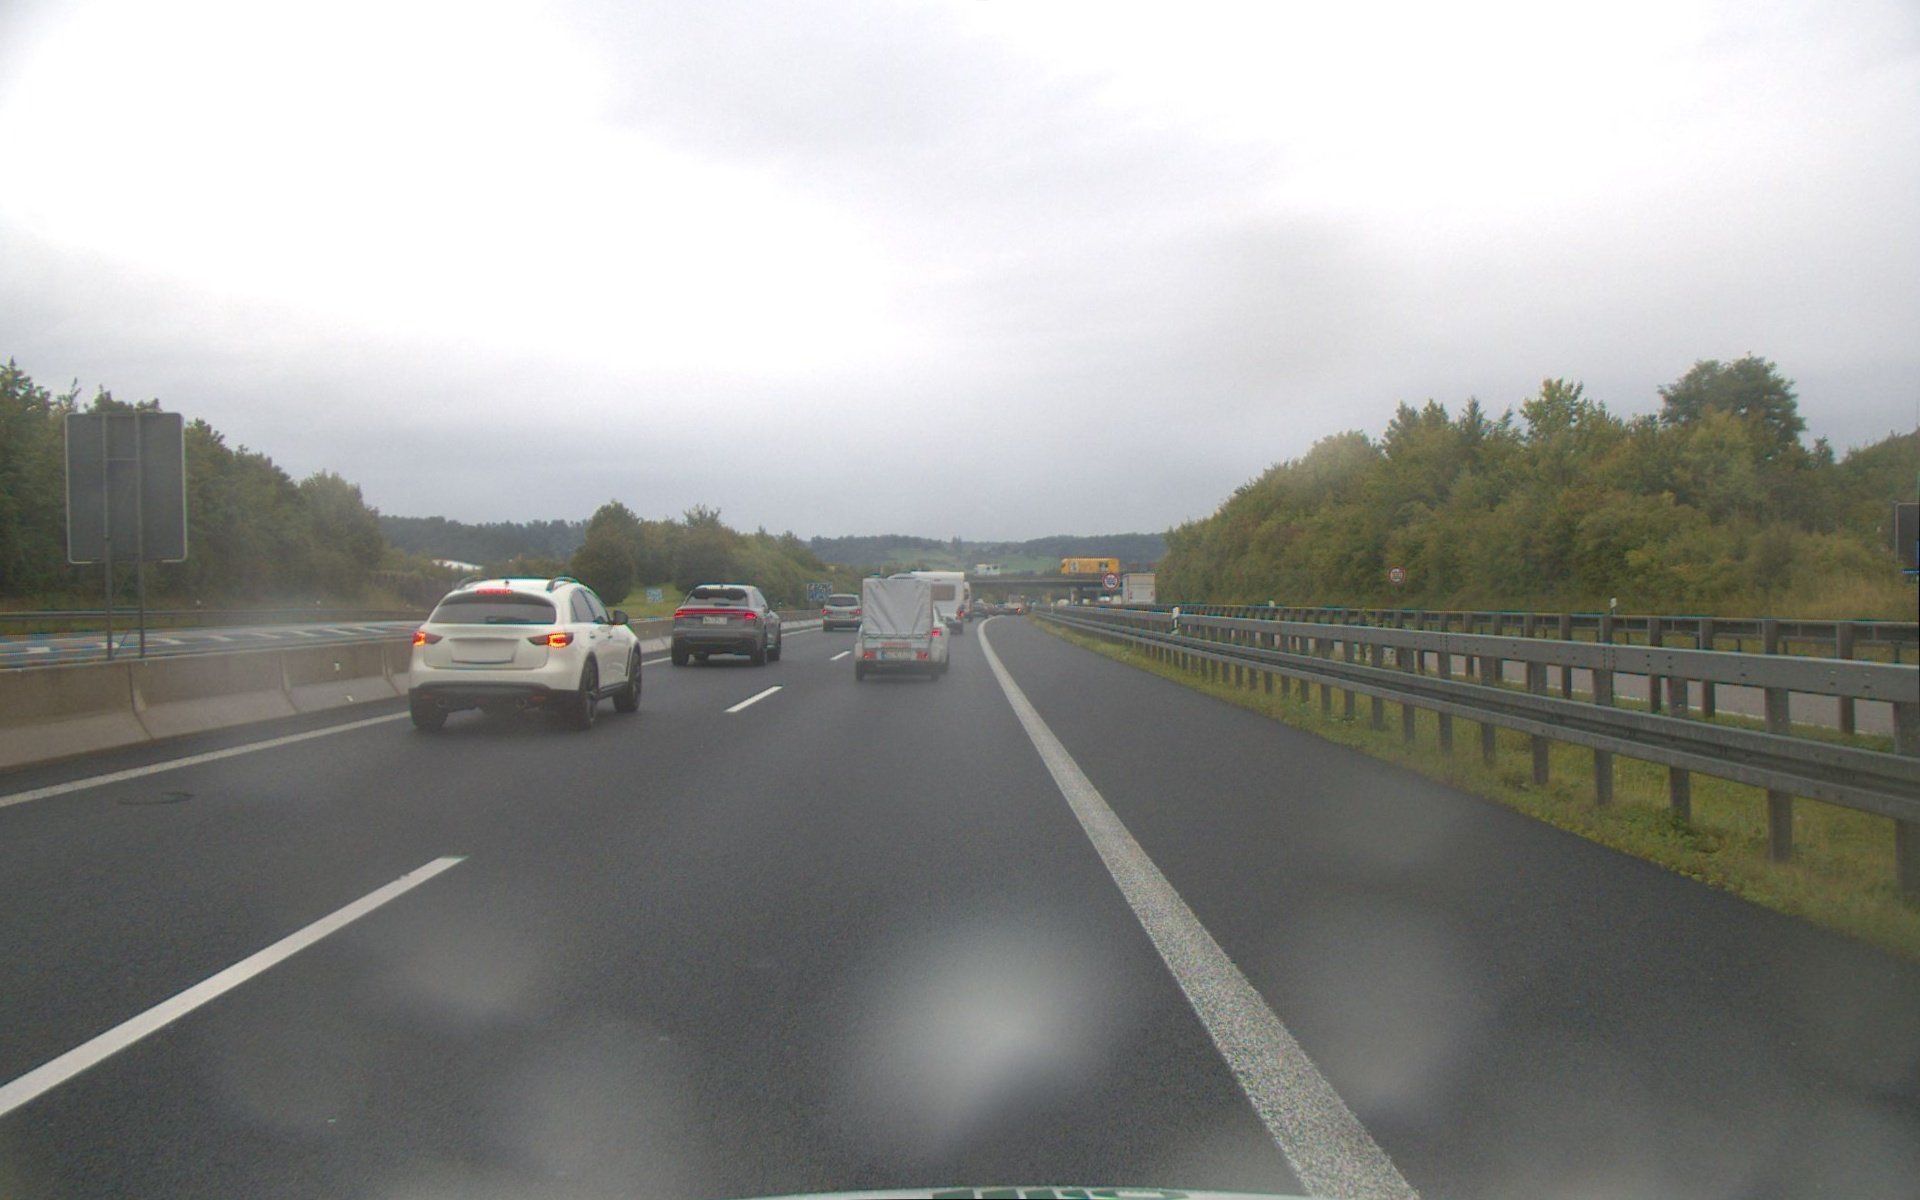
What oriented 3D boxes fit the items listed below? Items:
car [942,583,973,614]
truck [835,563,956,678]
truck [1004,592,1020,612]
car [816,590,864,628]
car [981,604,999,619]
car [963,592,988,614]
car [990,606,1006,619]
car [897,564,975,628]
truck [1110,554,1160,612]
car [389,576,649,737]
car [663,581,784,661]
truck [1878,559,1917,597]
[{"bbox_3d":[-0.192,-0.107,113.965,1.953,2.071,4.150,1,0,-2],"label":"car"},{"bbox_3d":[-1.140,0.345,32.477,1.977,2.020,7.213,0,0,1],"label":"truck"},{"bbox_3d":[8.216,0.362,261.551,2.230,3.136,7.249,1,0,3],"label":"truck"},{"bbox_3d":[-5.298,0.393,73.444,1.861,1.641,4.017,0,0,0],"label":"car"},{"bbox_3d":[3.551,1.352,195.041,1.952,1.780,4.001,1,0,2],"label":"car"},{"bbox_3d":[1.309,0.292,139.455,1.952,1.780,4.001,1,0,2],"label":"car"},{"bbox_3d":[5.333,1.711,231.507,1.952,1.780,4.002,1,0,3],"label":"car"},{"bbox_3d":[-0.981,-0.181,71.341,2.953,2.662,6.077,0,0,3],"label":"car"},{"bbox_3d":[16.313,-1.586,154.676,4.008,5.193,10.466,0,0,2],"label":"truck"},{"bbox_3d":[-4.993,0.588,19.387,1.936,1.668,4.499,0,0,-2],"label":"car"},{"bbox_3d":[-5.144,0.439,36.601,2.130,1.660,4.499,0,0,-2],"label":"car"},{"bbox_3d":[68.794,-1.577,121.414,2.393,2.752,5.559,0,0,29],"label":"truck"}]
